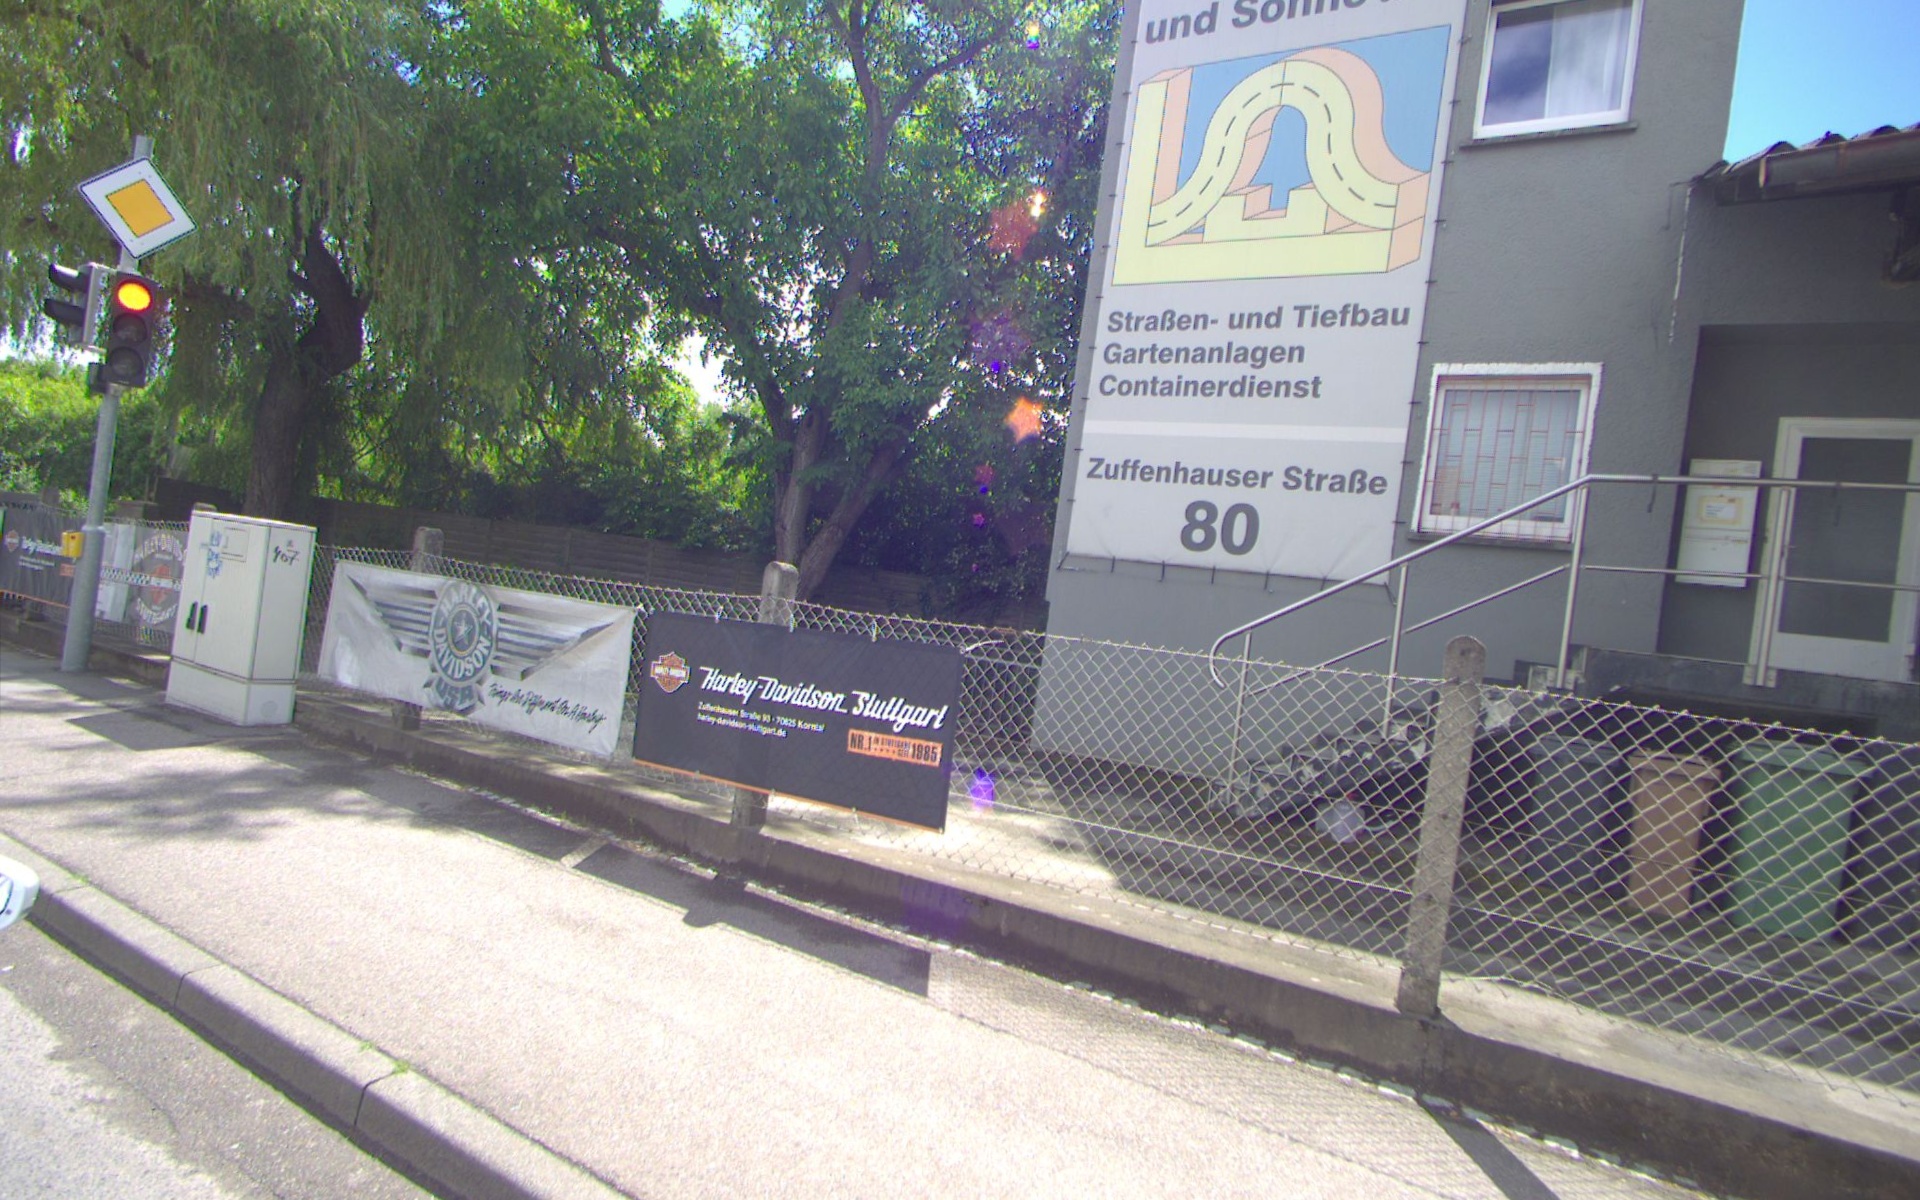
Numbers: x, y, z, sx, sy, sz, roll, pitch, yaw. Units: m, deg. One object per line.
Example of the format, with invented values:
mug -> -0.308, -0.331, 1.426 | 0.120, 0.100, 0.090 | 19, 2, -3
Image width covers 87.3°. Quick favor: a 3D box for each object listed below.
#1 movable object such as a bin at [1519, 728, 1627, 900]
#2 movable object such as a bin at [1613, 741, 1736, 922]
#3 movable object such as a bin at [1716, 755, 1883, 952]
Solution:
movable object such as a bin -> 3.815, 1.308, 6.288 | 0.466, 0.941, 0.482 | 7, -1, 30
movable object such as a bin -> 4.260, 1.357, 6.025 | 0.466, 0.941, 0.482 | 7, -1, 30
movable object such as a bin -> 4.756, 1.411, 5.734 | 0.574, 0.941, 0.482 | 6, -1, 30
